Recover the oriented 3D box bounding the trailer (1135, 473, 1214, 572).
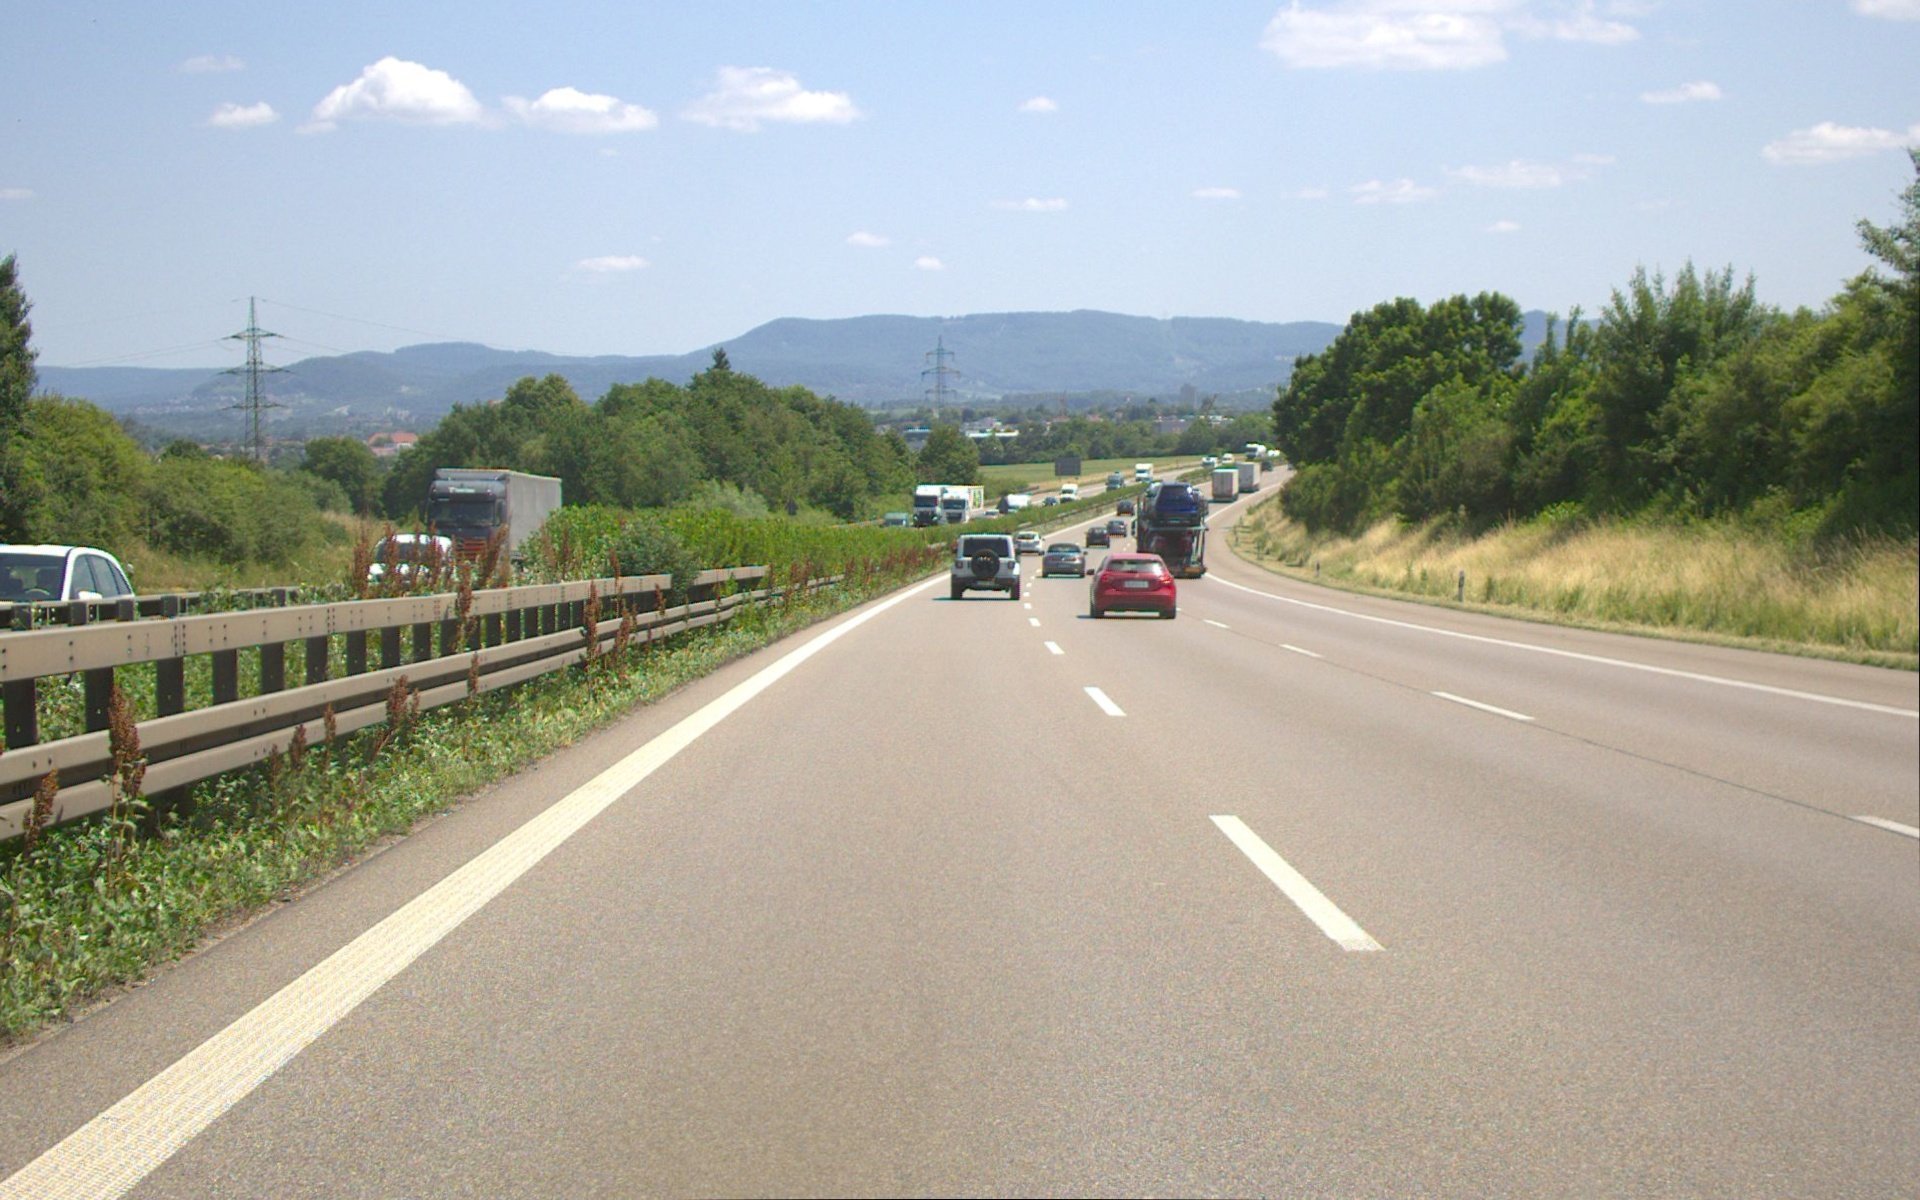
[{"bbox_3d":[9.227,-3.476,149.305,2.855,3.979,15.397,1,2,1],"label":"trailer"}]

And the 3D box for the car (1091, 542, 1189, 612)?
[{"bbox_3d":[3.918,-0.523,75.449,1.685,1.374,3.949,0,2,-4],"label":"car"}]

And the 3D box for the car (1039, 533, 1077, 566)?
[{"bbox_3d":[4.043,-2.096,142.750,1.452,1.263,3.539,1,2,0],"label":"car"}]

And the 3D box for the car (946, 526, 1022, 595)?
[{"bbox_3d":[0.663,-1.142,97.588,2.083,1.823,4.754,1,2,0],"label":"car"}]

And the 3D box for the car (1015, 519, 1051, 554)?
[{"bbox_3d":[4.445,-3.854,207.571,1.698,2.006,3.821,1,2,8],"label":"car"}]

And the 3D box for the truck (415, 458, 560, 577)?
[{"bbox_3d":[-16.987,-2.983,124.997,2.975,4.000,16.829,1,1,0],"label":"truck"}]

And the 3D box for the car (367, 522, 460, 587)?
[{"bbox_3d":[-13.218,-1.105,83.358,1.499,1.508,4.869,1,1,0],"label":"car"}]

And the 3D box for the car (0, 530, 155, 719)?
[{"bbox_3d":[-8.772,0.167,32.023,1.676,1.549,4.392,1,2,-2],"label":"car"}]

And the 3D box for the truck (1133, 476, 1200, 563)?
[{"bbox_3d":[9.399,-3.702,157.082,2.754,3.839,6.645,1,2,1],"label":"truck"}]
